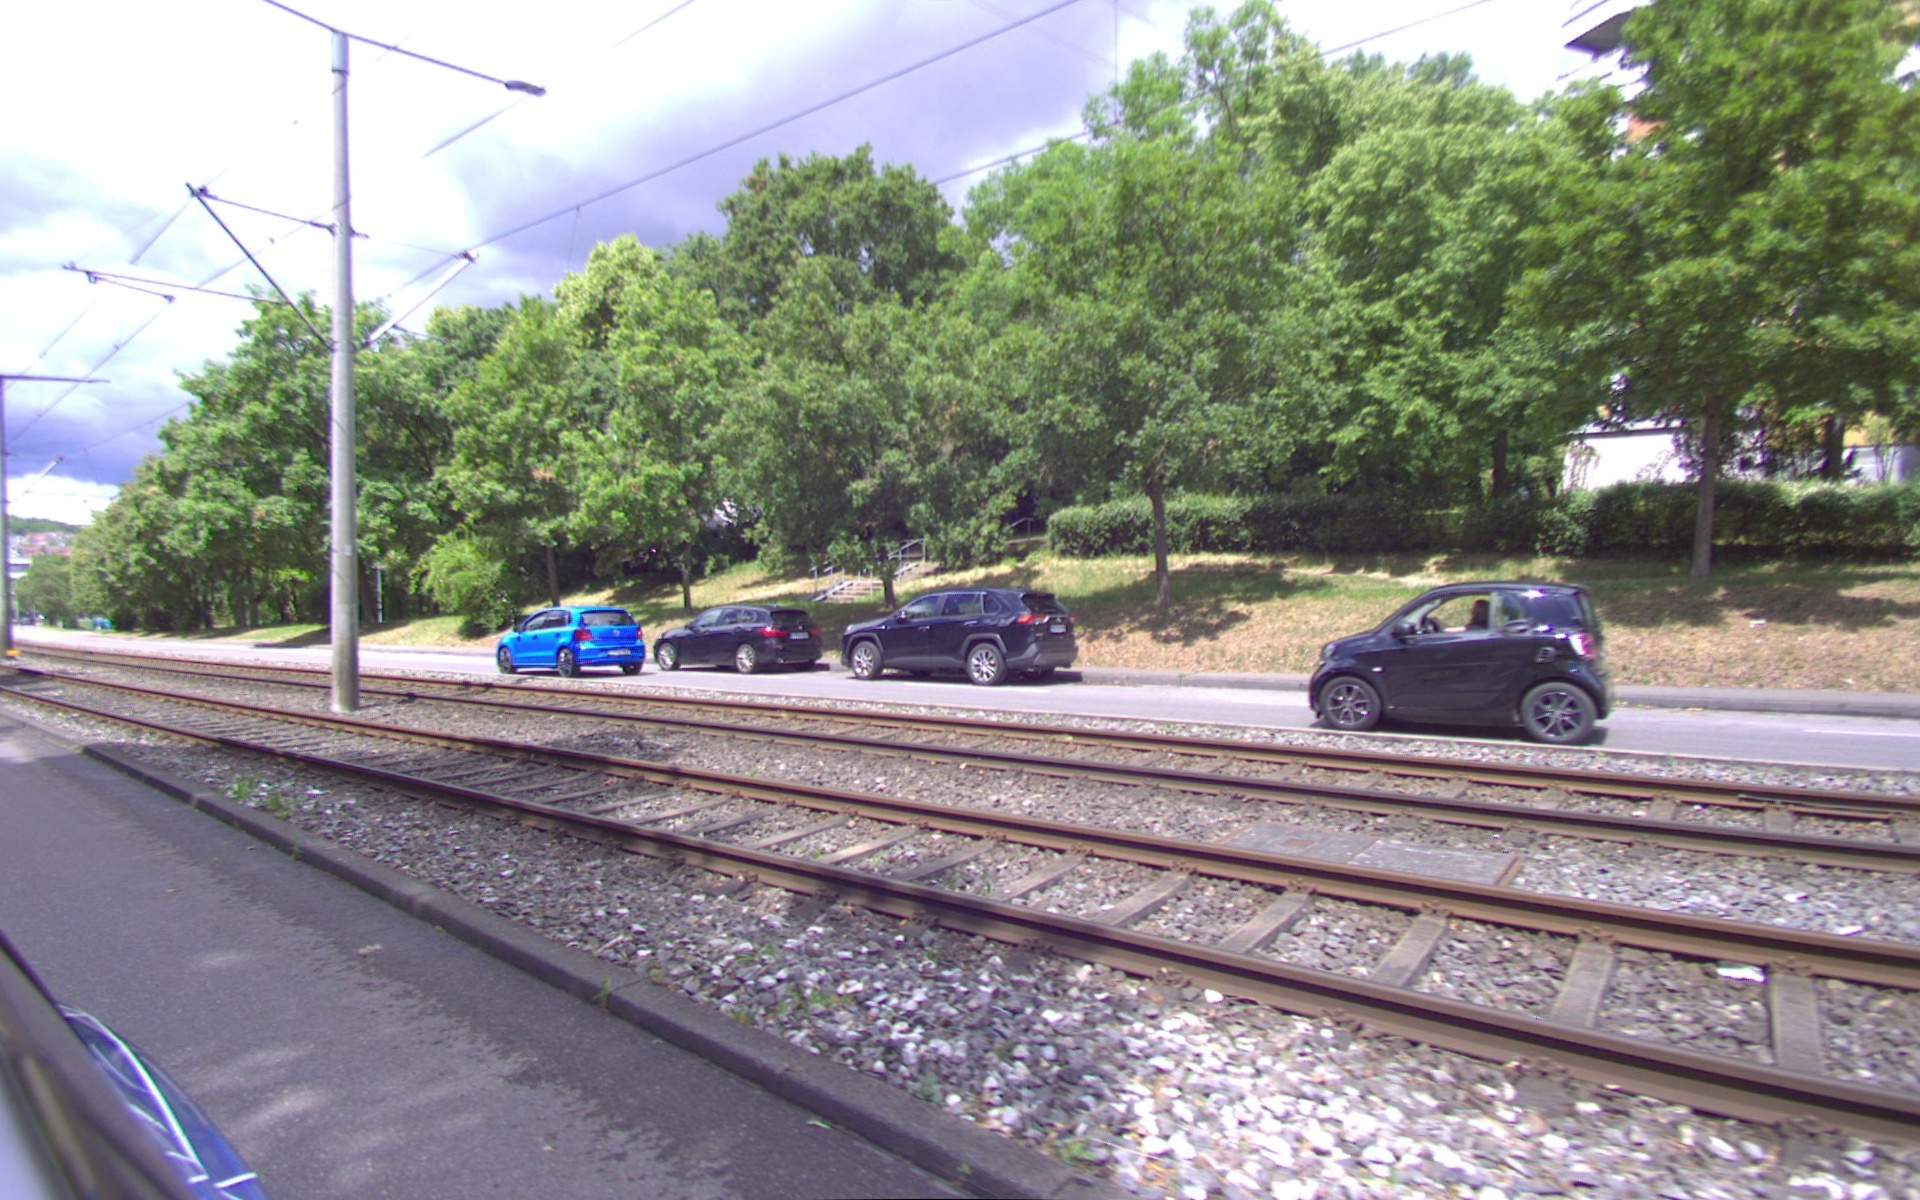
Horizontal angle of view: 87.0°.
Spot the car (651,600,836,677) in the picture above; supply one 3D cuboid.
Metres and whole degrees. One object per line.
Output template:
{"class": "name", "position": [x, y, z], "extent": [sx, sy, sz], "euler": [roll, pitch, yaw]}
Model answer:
{"class": "car", "position": [-4.737, 0.797, 21.883], "extent": [3.991, 1.510, 1.757], "euler": [-1, 0, 38]}

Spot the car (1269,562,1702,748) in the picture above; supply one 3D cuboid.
{"class": "car", "position": [5.285, 0.490, 10.366], "extent": [3.690, 1.576, 1.700], "euler": [-1, 0, 37]}

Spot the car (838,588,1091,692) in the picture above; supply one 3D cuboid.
{"class": "car", "position": [-0.006, 0.652, 18.066], "extent": [4.376, 1.642, 1.757], "euler": [-1, -1, 38]}

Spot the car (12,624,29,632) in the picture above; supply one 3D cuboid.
{"class": "car", "position": [-161.369, 4.849, 173.875], "extent": [4.863, 1.402, 1.815], "euler": [-2, -3, 44]}

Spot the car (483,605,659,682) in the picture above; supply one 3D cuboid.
{"class": "car", "position": [-8.230, 0.868, 21.266], "extent": [3.937, 1.453, 1.699], "euler": [-1, 0, 39]}
